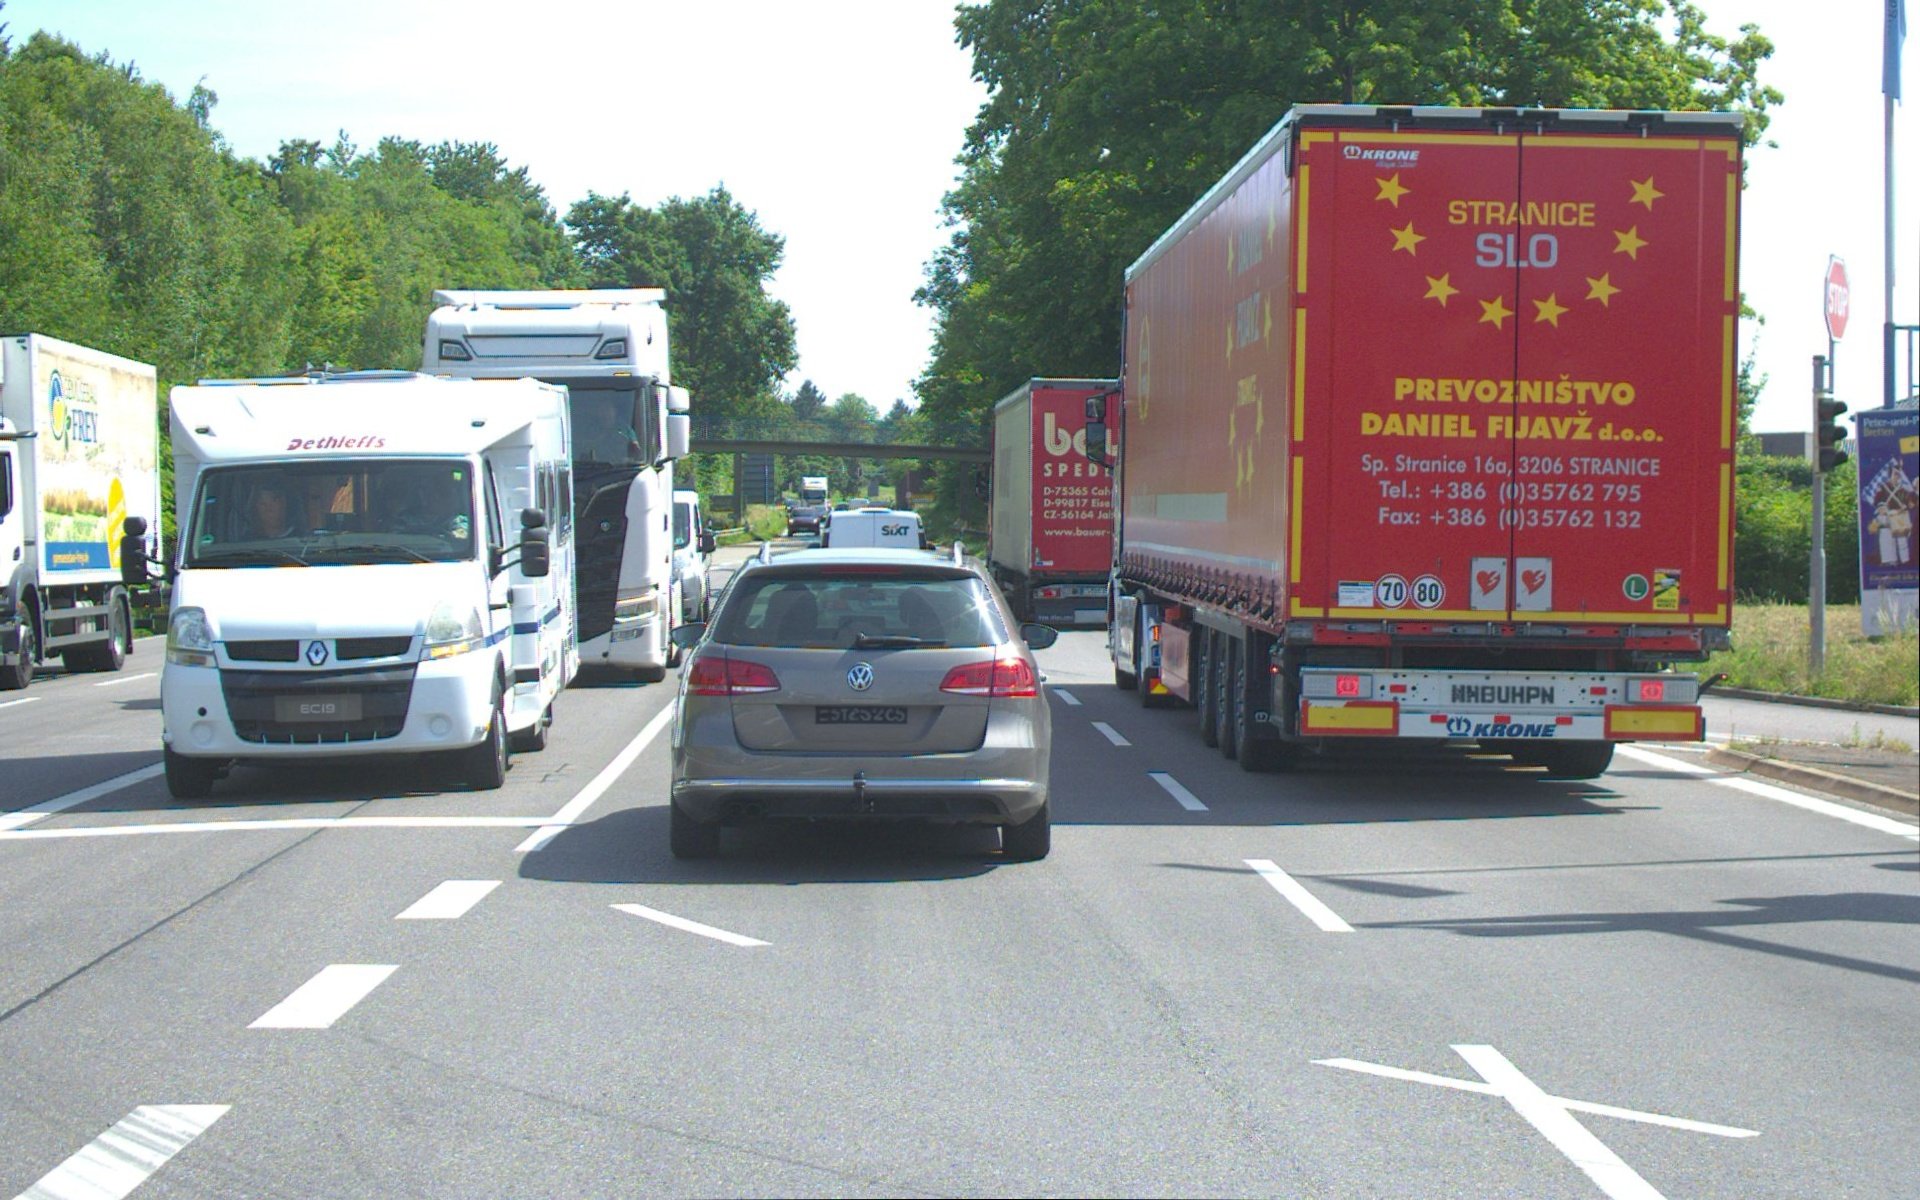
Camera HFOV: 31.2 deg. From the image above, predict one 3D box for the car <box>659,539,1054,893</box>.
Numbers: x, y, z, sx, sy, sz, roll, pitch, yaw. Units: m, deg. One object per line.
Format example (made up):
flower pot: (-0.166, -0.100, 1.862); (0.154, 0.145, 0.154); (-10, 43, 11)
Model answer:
car: (-0.534, 0.475, 17.010); (1.691, 1.508, 4.001); (-1, 1, -2)

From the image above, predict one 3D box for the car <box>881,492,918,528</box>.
car: (-3.515, -5.167, 198.205); (1.993, 2.007, 4.000); (-1, 1, -2)

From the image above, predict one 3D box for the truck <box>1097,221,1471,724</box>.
truck: (2.893, -1.138, 32.365); (2.870, 4.266, 5.839); (1, 1, 0)

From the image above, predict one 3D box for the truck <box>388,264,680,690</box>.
truck: (-4.370, -1.240, 36.394); (2.536, 4.074, 6.266); (-1, 1, -3)

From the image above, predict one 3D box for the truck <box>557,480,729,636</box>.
truck: (-4.901, -0.680, 54.115); (2.227, 2.260, 6.500); (-1, 1, -1)

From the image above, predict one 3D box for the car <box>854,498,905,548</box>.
car: (-3.307, -3.152, 141.225); (1.993, 2.007, 4.000); (-1, 1, -2)

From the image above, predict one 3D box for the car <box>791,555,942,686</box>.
car: (-1.202, 0.219, 43.147); (1.770, 1.508, 4.001); (-1, 1, -2)

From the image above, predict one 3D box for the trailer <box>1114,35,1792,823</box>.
trailer: (3.048, -1.057, 25.764); (2.839, 4.350, 13.168); (1, 1, -1)

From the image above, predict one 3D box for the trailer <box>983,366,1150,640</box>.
trailer: (1.709, -1.619, 60.192); (2.395, 4.229, 13.078); (-1, 1, 0)

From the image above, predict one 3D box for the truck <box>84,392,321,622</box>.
truck: (-14.630, -1.760, 67.177); (2.829, 4.102, 9.683); (-1, 1, -3)

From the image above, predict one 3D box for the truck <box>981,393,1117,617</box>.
truck: (1.675, -1.813, 66.682); (2.406, 4.113, 5.521); (-1, 1, 0)

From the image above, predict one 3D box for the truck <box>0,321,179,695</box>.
truck: (-11.725, -1.025, 41.374); (2.729, 3.985, 9.621); (-1, 1, -2)

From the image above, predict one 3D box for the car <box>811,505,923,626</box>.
car: (-1.595, -0.586, 57.912); (1.770, 1.930, 3.978); (-1, 1, -2)

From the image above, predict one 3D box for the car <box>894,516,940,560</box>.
car: (-2.042, -2.937, 162.224); (1.993, 2.007, 4.000); (-1, 1, -2)

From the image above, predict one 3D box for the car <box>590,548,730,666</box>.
car: (-4.175, 0.070, 48.277); (1.710, 1.546, 4.109); (-1, 1, -2)

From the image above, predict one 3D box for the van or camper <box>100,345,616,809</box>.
van or camper: (-3.772, -0.188, 23.055); (2.330, 2.591, 6.979); (-1, 1, -1)
